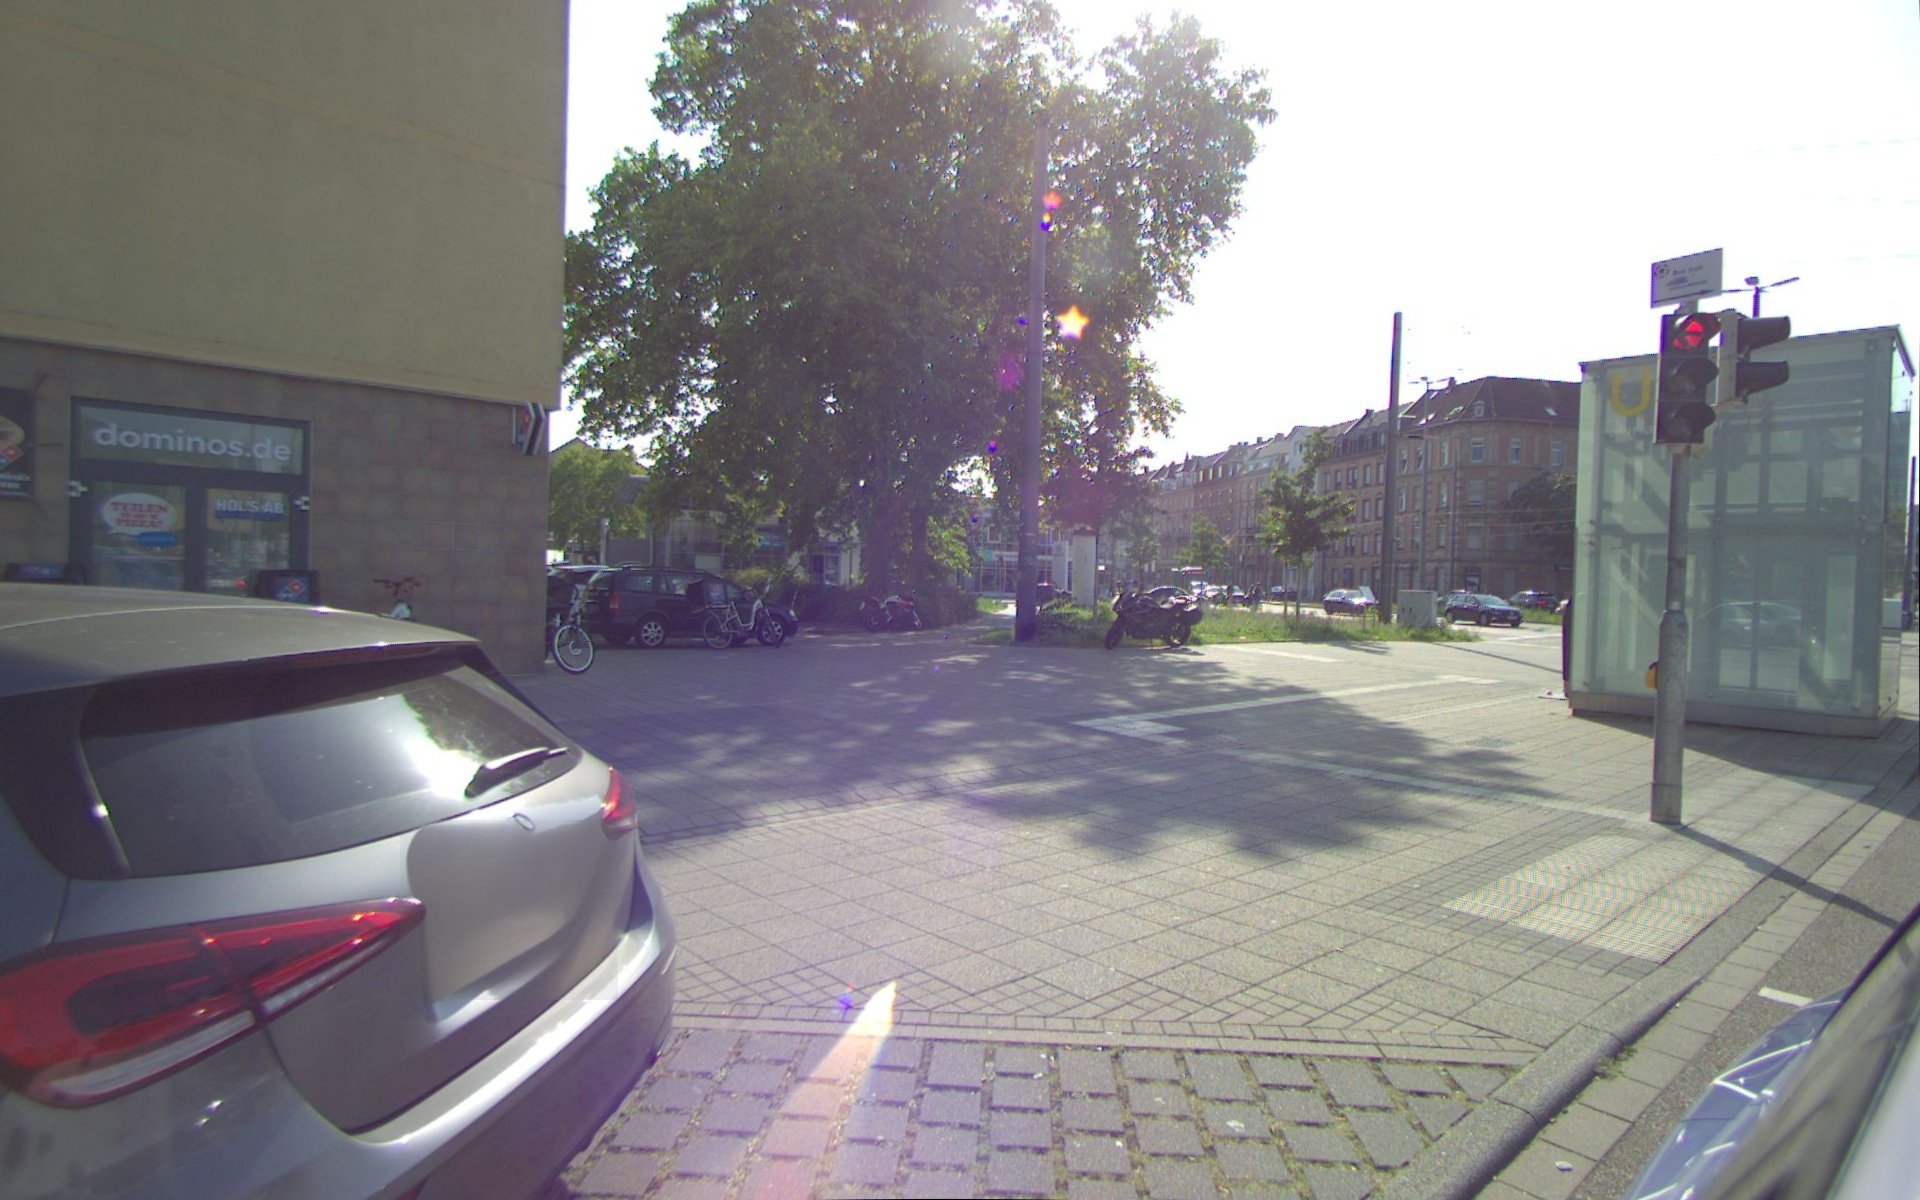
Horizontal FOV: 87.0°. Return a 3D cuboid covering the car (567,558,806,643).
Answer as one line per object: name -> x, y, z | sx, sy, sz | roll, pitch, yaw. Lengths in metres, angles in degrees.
car -> -5.199, -0.004, 19.526 | 4.120, 1.459, 1.660 | 0, 2, -40

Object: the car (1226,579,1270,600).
car -> 21.534, -0.787, 75.785 | 1.766, 1.459, 3.638 | 2, 2, -10

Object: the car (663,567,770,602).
car -> -10.281, -0.639, 42.891 | 3.931, 1.393, 1.997 | 0, 2, -42

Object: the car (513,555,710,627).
car -> -8.155, -0.216, 23.836 | 3.929, 1.526, 1.998 | 0, 2, -40

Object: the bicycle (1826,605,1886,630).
bicycle -> 44.728, 0.872, 50.547 | 0.519, 1.109, 2.189 | 1, 2, -33

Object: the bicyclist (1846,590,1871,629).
bicyclist -> 44.747, 0.464, 50.408 | 0.767, 1.885, 0.710 | 1, 1, -35

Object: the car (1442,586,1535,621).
car -> 24.443, 0.132, 46.964 | 1.766, 1.459, 3.912 | 2, 2, -10

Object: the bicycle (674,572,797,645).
bicycle -> -4.074, 0.148, 18.518 | 0.523, 1.250, 2.264 | 3, 2, 44

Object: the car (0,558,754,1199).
car -> -2.846, 0.619, 2.229 | 4.335, 1.441, 1.844 | 1, 1, 8

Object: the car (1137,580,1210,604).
car -> 13.779, -0.557, 65.479 | 4.317, 1.387, 1.999 | 2, 1, 2

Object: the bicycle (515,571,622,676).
bicycle -> -5.147, 0.262, 13.238 | 0.659, 1.221, 2.021 | 1, 2, -40

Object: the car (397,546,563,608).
car -> -13.767, -0.637, 29.110 | 3.929, 1.665, 1.998 | 0, 2, -40

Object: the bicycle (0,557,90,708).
bicycle -> -8.563, 0.266, 8.549 | 1.817, 1.277, 0.603 | 0, 2, -42

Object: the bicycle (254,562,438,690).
bicycle -> -6.509, 0.255, 10.785 | 1.608, 1.277, 0.469 | 0, 2, -42

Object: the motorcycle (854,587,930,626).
motorcycle -> -1.859, 0.184, 27.607 | 1.916, 1.014, 0.707 | 1, 1, -25

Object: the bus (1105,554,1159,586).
bus -> 17.705, -3.089, 105.127 | 2.841, 3.021, 11.510 | 2, 2, -4

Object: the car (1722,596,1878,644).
car -> 29.523, 0.654, 35.736 | 1.766, 1.433, 4.008 | 2, 2, -10

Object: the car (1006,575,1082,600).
car -> 5.337, -0.804, 64.423 | 4.305, 1.387, 2.005 | 1, 1, -16

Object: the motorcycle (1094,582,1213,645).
motorcycle -> 3.779, 0.255, 19.693 | 2.253, 1.161, 0.707 | 1, 1, -25

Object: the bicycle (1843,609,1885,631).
bicycle -> 46.448, 1.011, 52.003 | 1.518, 1.037, 0.428 | 3, 1, 37

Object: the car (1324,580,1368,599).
car -> 32.280, -0.860, 84.655 | 1.642, 1.465, 3.788 | 2, 1, -11

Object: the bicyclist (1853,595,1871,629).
bicyclist -> 46.396, 0.606, 52.043 | 0.583, 1.752, 0.588 | 2, 1, 35
